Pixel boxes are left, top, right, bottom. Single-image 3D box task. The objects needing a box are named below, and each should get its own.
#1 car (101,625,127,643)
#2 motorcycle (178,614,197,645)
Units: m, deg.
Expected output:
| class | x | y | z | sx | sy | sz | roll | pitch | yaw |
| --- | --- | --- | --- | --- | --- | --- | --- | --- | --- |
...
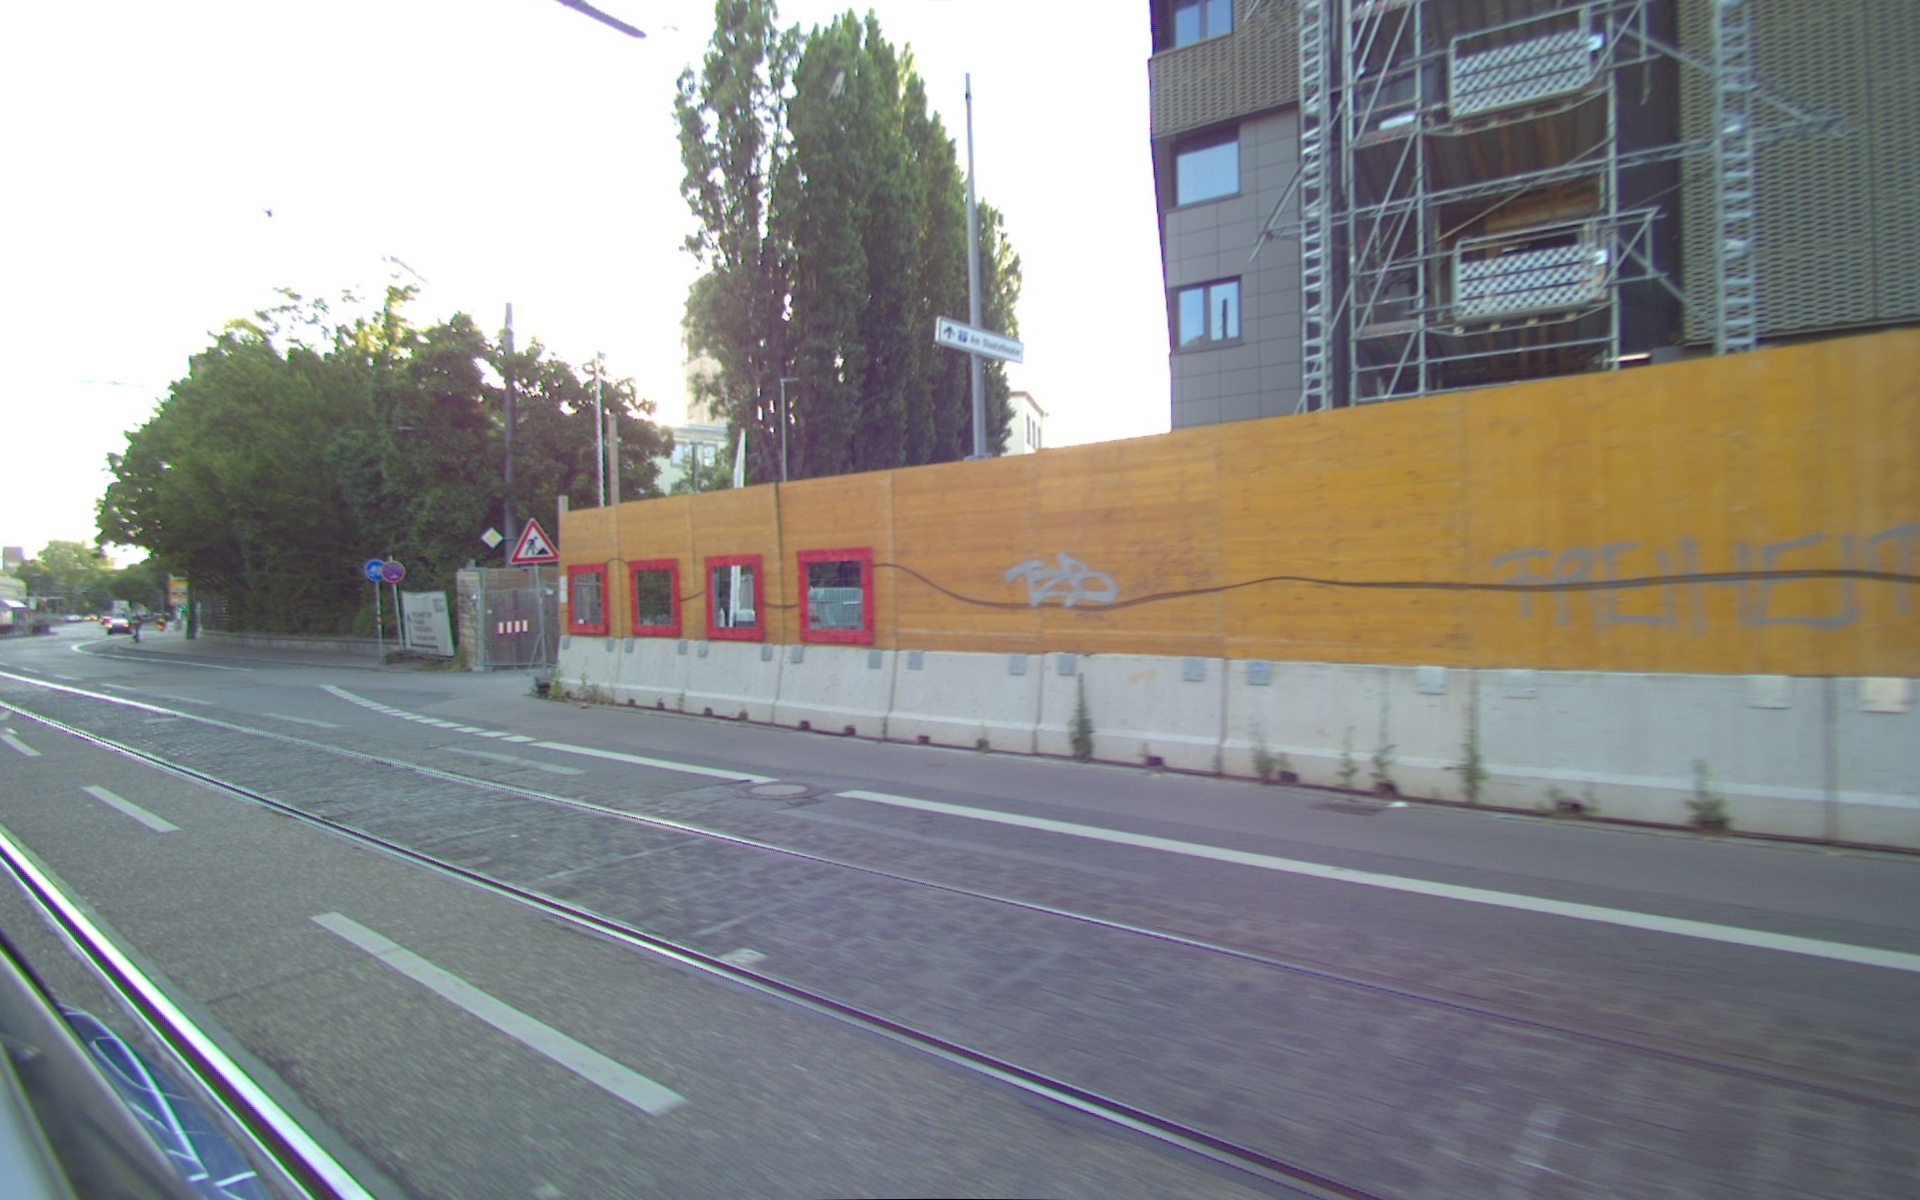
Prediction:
| class | x | y | z | sx | sy | sz | roll | pitch | yaw |
| --- | --- | --- | --- | --- | --- | --- | --- | --- | --- |
| car | -84.355 | 3.340 | 100.959 | 1.968 | 1.696 | 4.007 | -1 | -1 | -40 |
| motorcycle | -62.553 | 2.410 | 81.952 | 1.008 | 2.461 | 2.671 | -1 | -1 | -41 |
